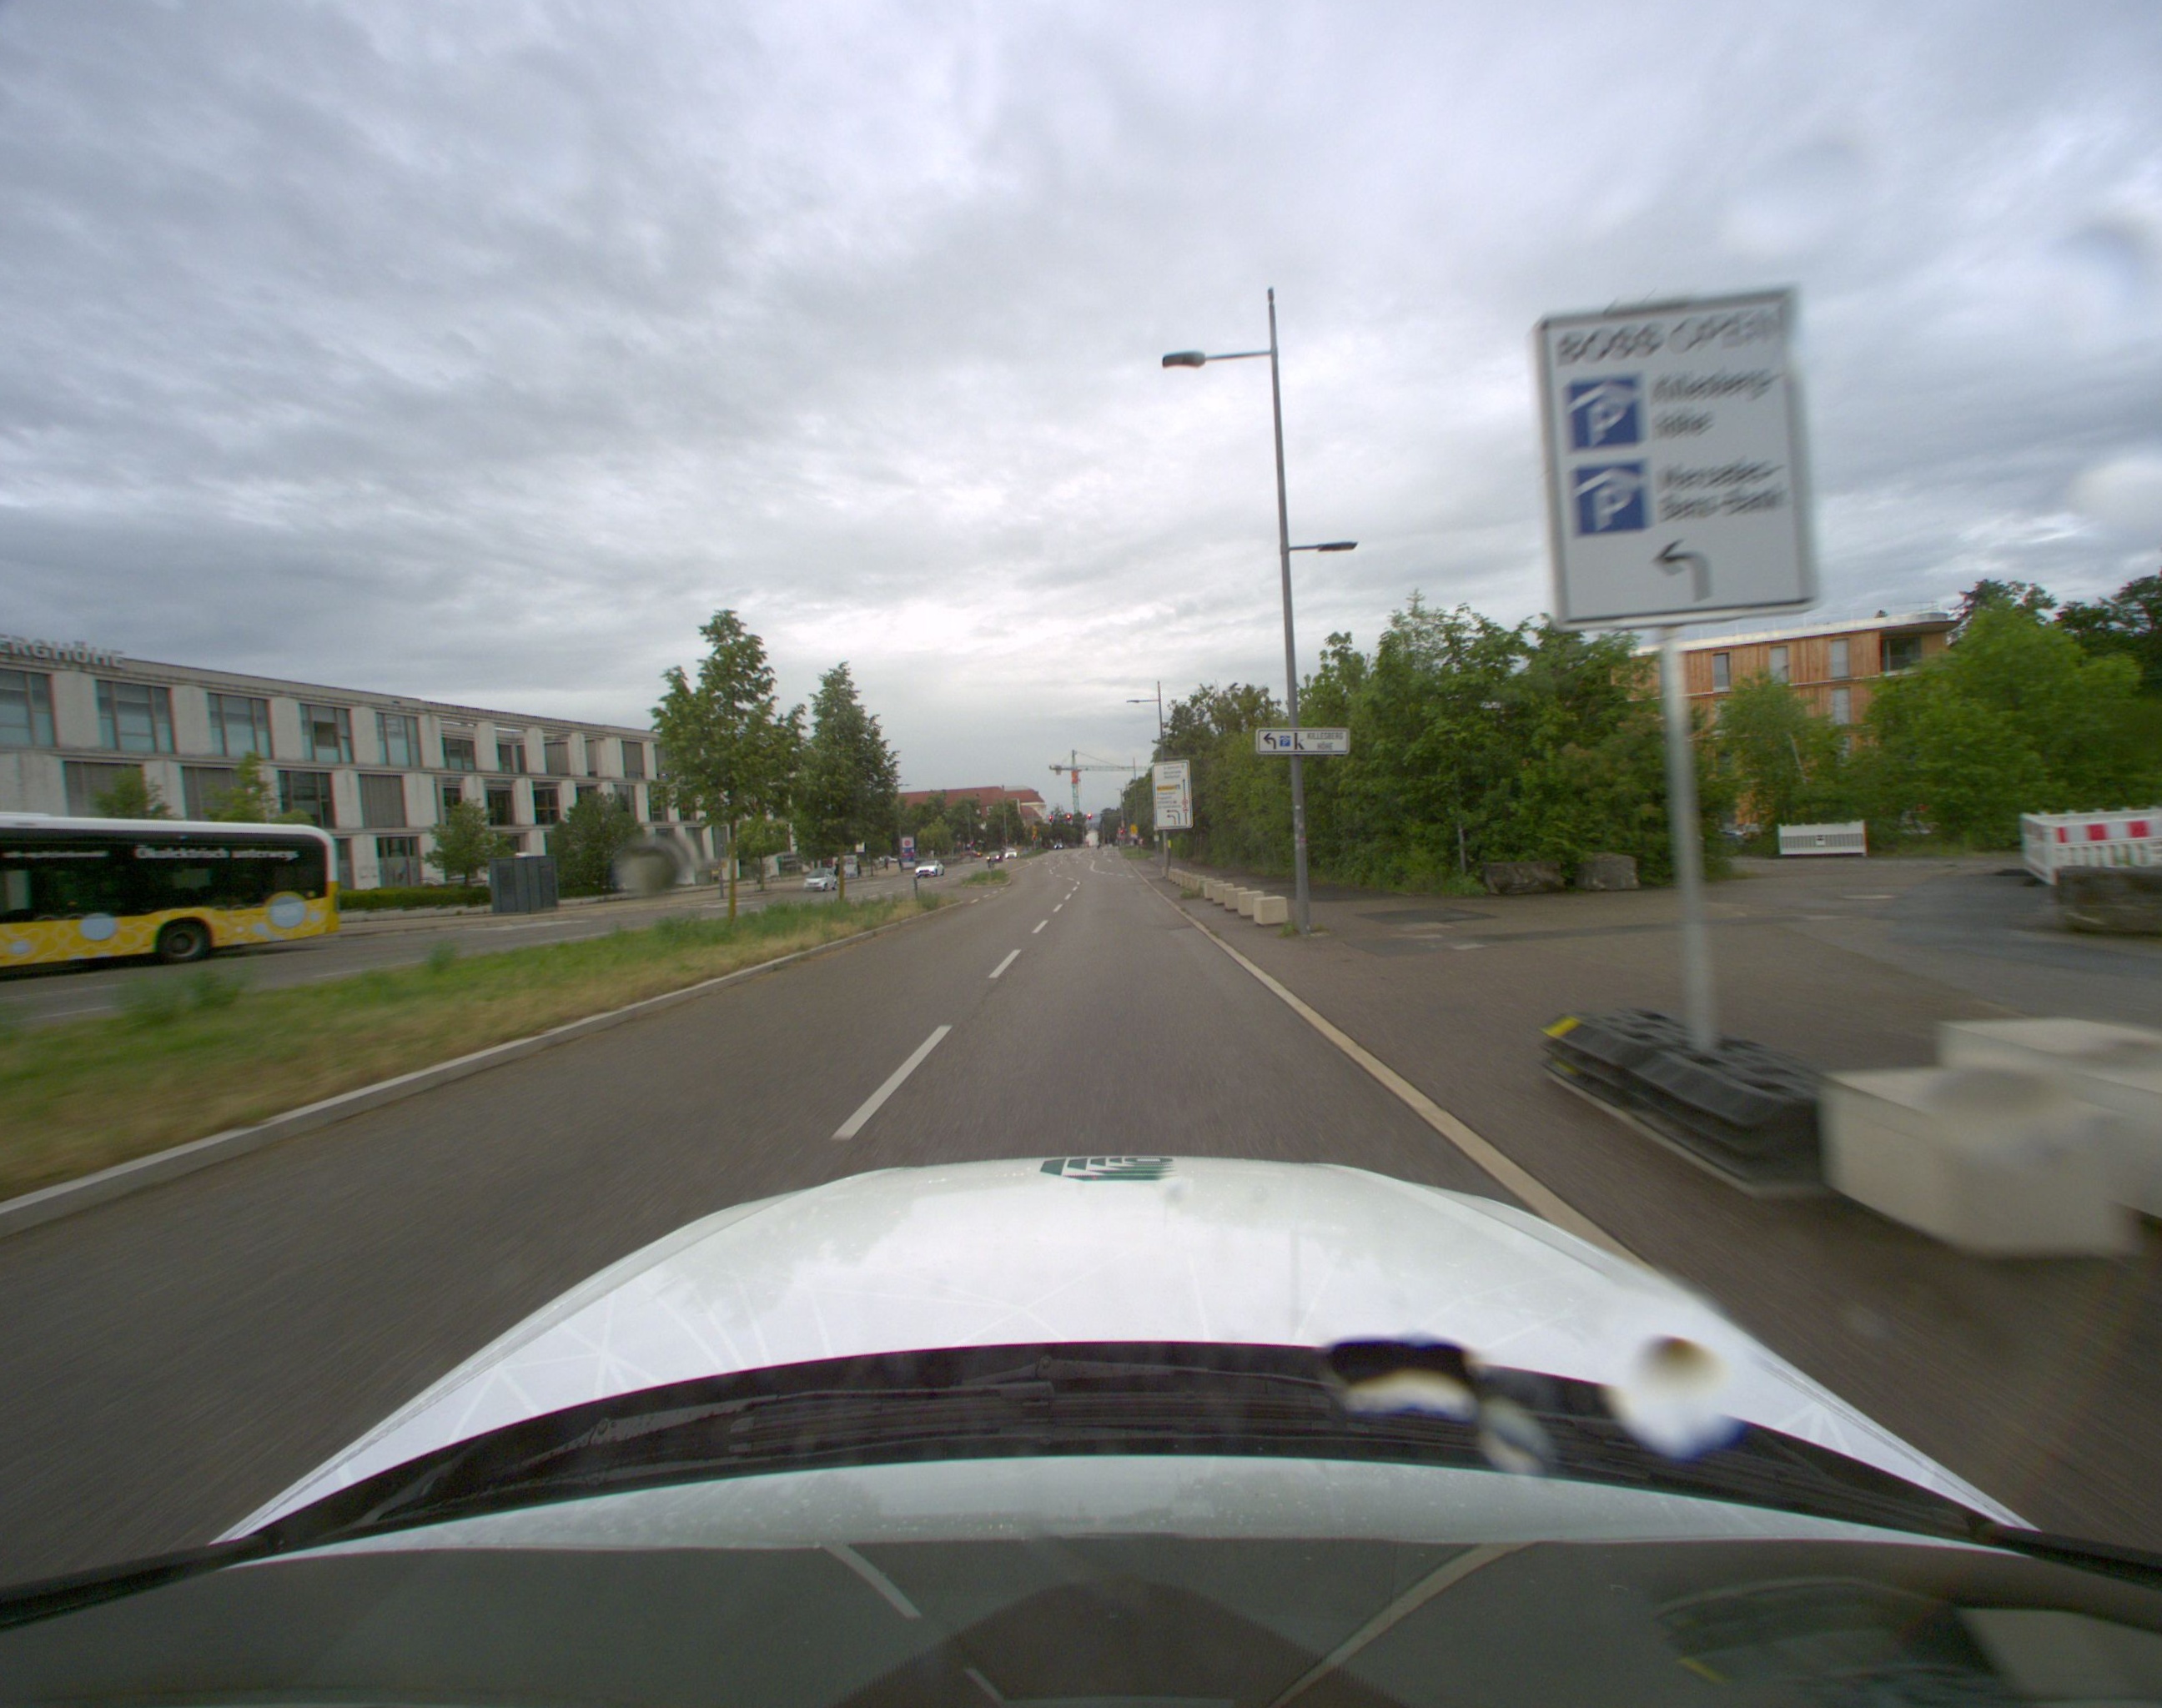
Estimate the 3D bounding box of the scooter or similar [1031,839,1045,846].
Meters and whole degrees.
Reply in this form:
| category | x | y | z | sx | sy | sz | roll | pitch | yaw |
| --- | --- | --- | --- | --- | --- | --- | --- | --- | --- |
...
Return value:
| category | x | y | z | sx | sy | sz | roll | pitch | yaw |
| --- | --- | --- | --- | --- | --- | --- | --- | --- | --- |
| scooter or similar | -10.263 | -2.849 | 195.019 | 3.078 | 1.440 | 0.949 | -4 | 1 | 0 |

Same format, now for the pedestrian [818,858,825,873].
| category | x | y | z | sx | sy | sz | roll | pitch | yaw |
| --- | --- | --- | --- | --- | --- | --- | --- | --- | --- |
| pedestrian | -26.014 | 1.123 | 81.560 | 0.424 | 1.451 | 0.510 | -4 | 1 | 2 |

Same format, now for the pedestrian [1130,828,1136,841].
| category | x | y | z | sx | sy | sz | roll | pitch | yaw |
| --- | --- | --- | --- | --- | --- | --- | --- | --- | --- |
| pedestrian | 7.786 | -2.926 | 121.620 | 0.639 | 1.900 | 0.717 | -4 | 1 | -4 |

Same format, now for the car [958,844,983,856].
| category | x | y | z | sx | sy | sz | roll | pitch | yaw |
| --- | --- | --- | --- | --- | --- | --- | --- | --- | --- |
| car | -20.702 | -0.705 | 152.634 | 3.951 | 1.916 | 2.012 | -3 | 1 | 24 |

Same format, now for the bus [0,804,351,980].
| category | x | y | z | sx | sy | sz | roll | pitch | yaw |
| --- | --- | --- | --- | --- | --- | --- | --- | --- | --- |
| bus | -22.331 | 0.800 | 18.709 | 2.805 | 3.472 | 8.252 | -2 | 0 | 9 |

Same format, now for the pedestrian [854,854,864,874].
| category | x | y | z | sx | sy | sz | roll | pitch | yaw |
| --- | --- | --- | --- | --- | --- | --- | --- | --- | --- |
| pedestrian | -20.362 | 0.913 | 74.709 | 0.505 | 1.842 | 0.756 | -4 | 1 | 1 |

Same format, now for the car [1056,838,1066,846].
| category | x | y | z | sx | sy | sz | roll | pitch | yaw |
| --- | --- | --- | --- | --- | --- | --- | --- | --- | --- |
| car | -4.727 | -2.838 | 192.225 | 1.985 | 1.838 | 4.003 | -2 | 0 | 3 |

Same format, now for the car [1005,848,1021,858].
| category | x | y | z | sx | sy | sz | roll | pitch | yaw |
| --- | --- | --- | --- | --- | --- | --- | --- | --- | --- |
| car | -10.732 | -0.202 | 129.166 | 1.866 | 1.429 | 4.178 | -6 | 0 | 2 |

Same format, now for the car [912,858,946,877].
| category | x | y | z | sx | sy | sz | roll | pitch | yaw |
| --- | --- | --- | --- | --- | --- | --- | --- | --- | --- |
| car | -13.599 | 1.194 | 73.082 | 1.986 | 1.418 | 4.515 | -3 | 0 | 2 |

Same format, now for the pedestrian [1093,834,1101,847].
| category | x | y | z | sx | sy | sz | roll | pitch | yaw |
| --- | --- | --- | --- | --- | --- | --- | --- | --- | --- |
| pedestrian | 2.621 | -2.239 | 134.637 | 0.935 | 2.013 | 0.849 | -6 | 1 | 7 |

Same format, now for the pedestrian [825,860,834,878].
| category | x | y | z | sx | sy | sz | roll | pitch | yaw |
| --- | --- | --- | --- | --- | --- | --- | --- | --- | --- |
| pedestrian | -24.985 | 1.445 | 80.865 | 0.522 | 1.725 | 0.567 | -4 | 1 | 4 |

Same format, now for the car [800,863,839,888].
| category | x | y | z | sx | sy | sz | roll | pitch | yaw |
| --- | --- | --- | --- | --- | --- | --- | --- | --- | --- |
| car | -18.009 | 1.476 | 56.156 | 1.607 | 1.508 | 2.974 | -2 | 0 | 2 |

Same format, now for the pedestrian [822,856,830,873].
| category | x | y | z | sx | sy | sz | roll | pitch | yaw |
| --- | --- | --- | --- | --- | --- | --- | --- | --- | --- |
| pedestrian | -25.797 | 1.049 | 82.458 | 0.424 | 1.725 | 0.621 | -4 | 1 | 2 |

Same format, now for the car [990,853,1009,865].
| category | x | y | z | sx | sy | sz | roll | pitch | yaw |
| --- | --- | --- | --- | --- | --- | --- | --- | --- | --- |
| car | -10.828 | 0.663 | 108.286 | 1.840 | 1.462 | 3.869 | -5 | 0 | 2 |

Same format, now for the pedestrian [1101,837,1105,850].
| category | x | y | z | sx | sy | sz | roll | pitch | yaw |
| --- | --- | --- | --- | --- | --- | --- | --- | --- | --- |
| pedestrian | 3.586 | -1.721 | 134.673 | 0.398 | 2.013 | 0.515 | -6 | 1 | 8 |

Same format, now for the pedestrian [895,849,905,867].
| category | x | y | z | sx | sy | sz | roll | pitch | yaw |
| --- | --- | --- | --- | --- | --- | --- | --- | --- | --- |
| pedestrian | -19.532 | 0.392 | 87.736 | 0.750 | 1.842 | 0.747 | -4 | 1 | 4 |
